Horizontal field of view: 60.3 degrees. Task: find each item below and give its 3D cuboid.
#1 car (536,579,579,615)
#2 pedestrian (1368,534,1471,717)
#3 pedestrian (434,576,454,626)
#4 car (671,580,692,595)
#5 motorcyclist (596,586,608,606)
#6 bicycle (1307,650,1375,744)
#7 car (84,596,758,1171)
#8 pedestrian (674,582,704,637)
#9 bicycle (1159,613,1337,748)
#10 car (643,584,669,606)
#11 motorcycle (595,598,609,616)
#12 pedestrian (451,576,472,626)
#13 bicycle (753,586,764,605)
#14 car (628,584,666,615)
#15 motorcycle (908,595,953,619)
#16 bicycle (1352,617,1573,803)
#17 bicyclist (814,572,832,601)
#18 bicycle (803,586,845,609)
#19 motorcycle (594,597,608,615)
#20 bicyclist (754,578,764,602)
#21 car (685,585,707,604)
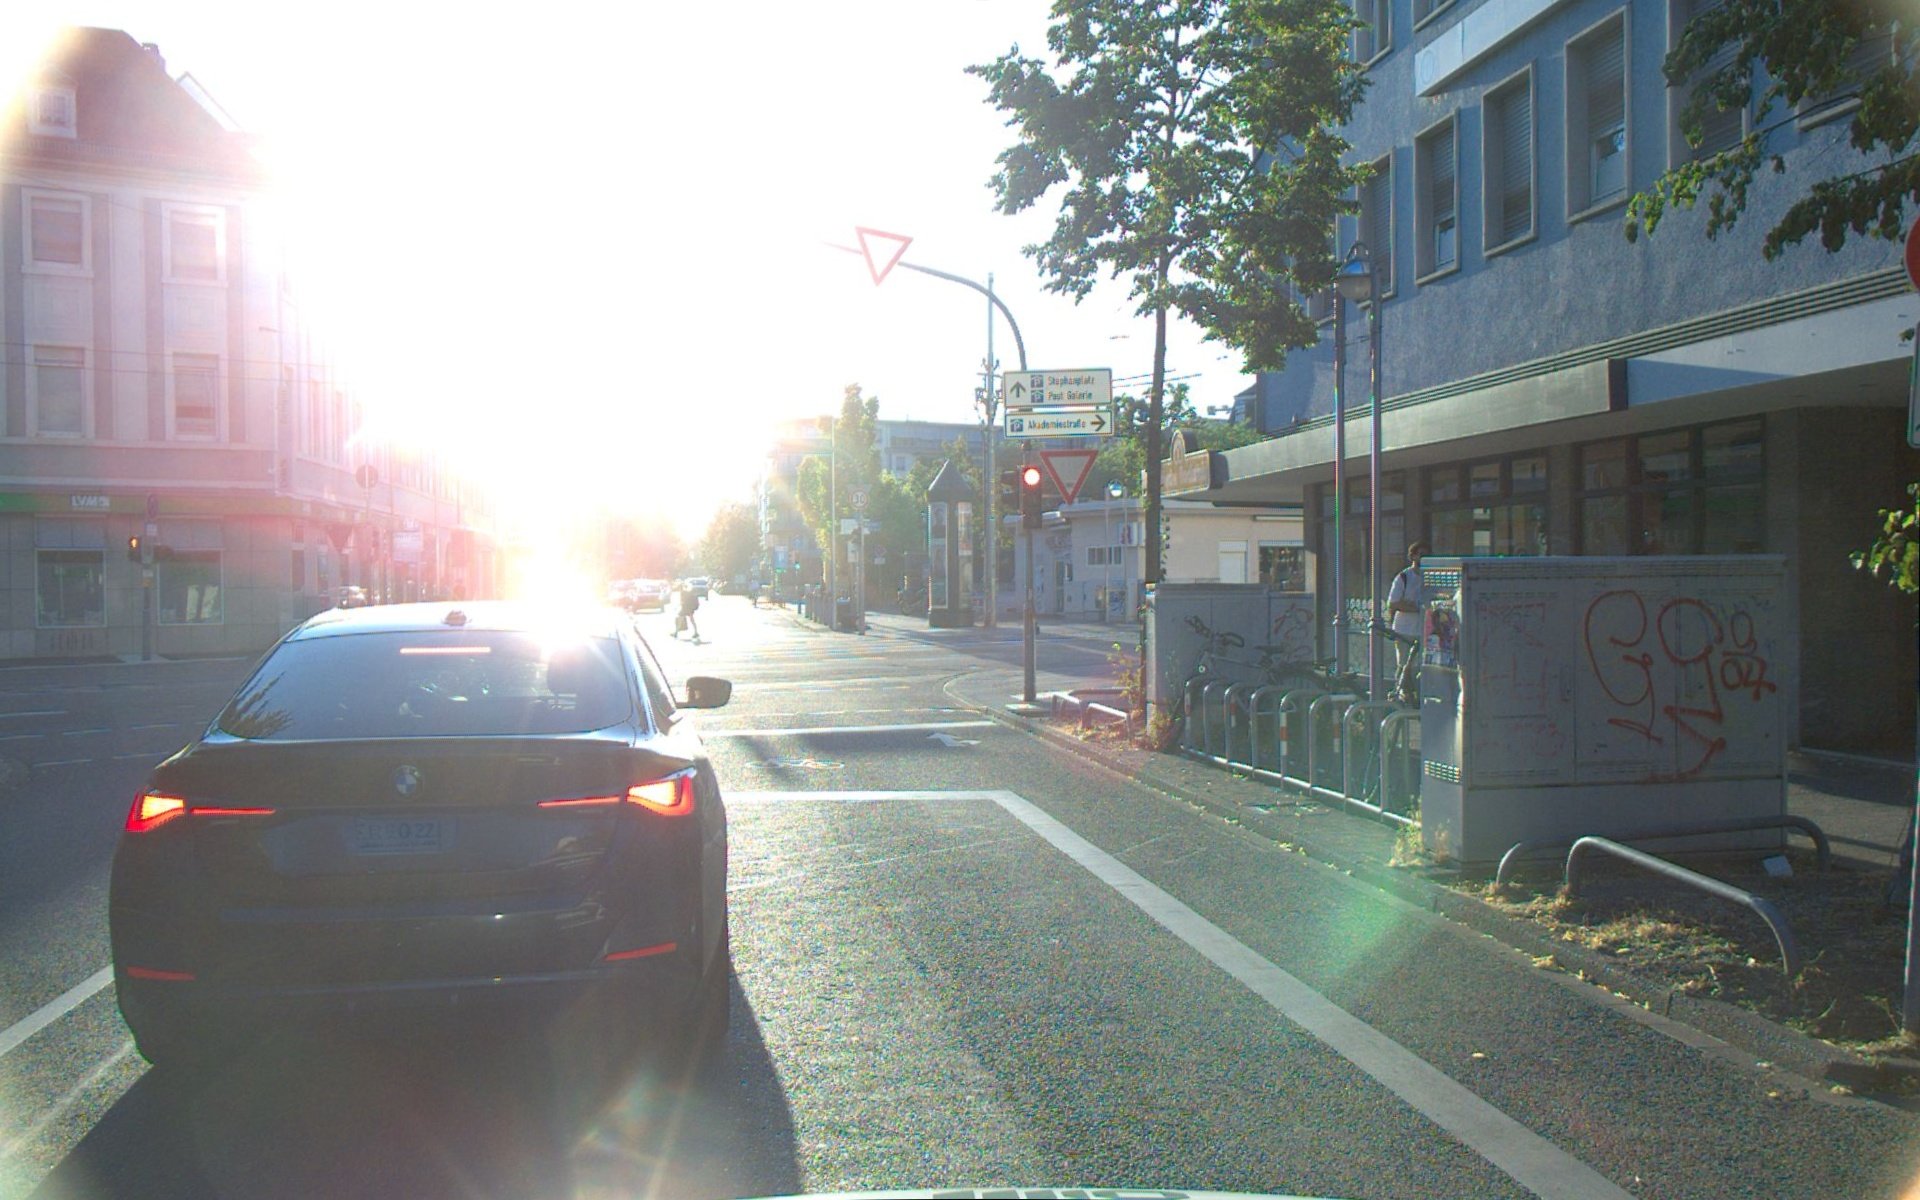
[{"bbox_3d":[-21.079,-0.193,86.787,1.784,1.819,3.992,-1,1,-9],"label":"car"},{"bbox_3d":[4.837,0.258,17.428,0.820,1.874,0.677,-1,0,-9],"label":"pedestrian"},{"bbox_3d":[-19.798,0.026,63.454,0.631,1.909,0.630,1,0,-9],"label":"pedestrian"},{"bbox_3d":[-30.159,-1.361,179.070,1.956,1.579,3.994,-2,1,-7],"label":"car"},{"bbox_3d":[-18.573,-0.193,85.870,0.564,1.013,0.701,1,0,-9],"label":"motorcyclist"},{"bbox_3d":[3.557,0.894,15.483,0.245,0.810,1.114,1,0,-7],"label":"bicycle"},{"bbox_3d":[-1.749,0.722,6.462,1.705,1.453,4.214,0,0,-10],"label":"car"},{"bbox_3d":[-7.727,0.258,47.207,0.724,1.555,0.468,1,0,-27],"label":"pedestrian"},{"bbox_3d":[2.644,0.728,15.190,1.582,1.191,0.318,-1,0,-7],"label":"bicycle"},{"bbox_3d":[-22.571,-0.387,122.884,1.784,1.545,3.992,-1,1,-9],"label":"car"},{"bbox_3d":[-18.606,0.347,85.989,0.564,0.931,2.196,1,0,-8],"label":"motorcycle"},{"bbox_3d":[-19.094,0.038,63.406,0.664,1.909,0.616,1,0,-9],"label":"pedestrian"},{"bbox_3d":[-12.702,-0.282,104.419,0.540,1.179,2.138,1,0,-11],"label":"bicycle"},{"bbox_3d":[-16.129,-0.053,85.356,1.784,1.545,3.992,-1,1,-9],"label":"car"},{"bbox_3d":[-1.215,0.273,67.867,1.644,0.955,0.851,-1,1,-20],"label":"motorcycle"},{"bbox_3d":[3.465,0.755,11.427,1.413,1.241,0.383,1,0,-8],"label":"bicycle"},{"bbox_3d":[-7.337,-0.723,88.861,0.865,1.532,0.612,1,0,3],"label":"bicyclist"},{"bbox_3d":[-7.295,-0.136,88.867,2.166,1.223,0.620,1,0,2],"label":"bicycle"},{"bbox_3d":[-19.380,0.319,89.359,0.564,0.931,2.196,1,0,-8],"label":"motorcycle"},{"bbox_3d":[-12.692,-0.654,104.383,0.540,1.507,0.720,1,0,-11],"label":"bicyclist"},{"bbox_3d":[-22.395,-0.505,140.246,1.784,1.545,3.992,-1,1,-9],"label":"car"}]
